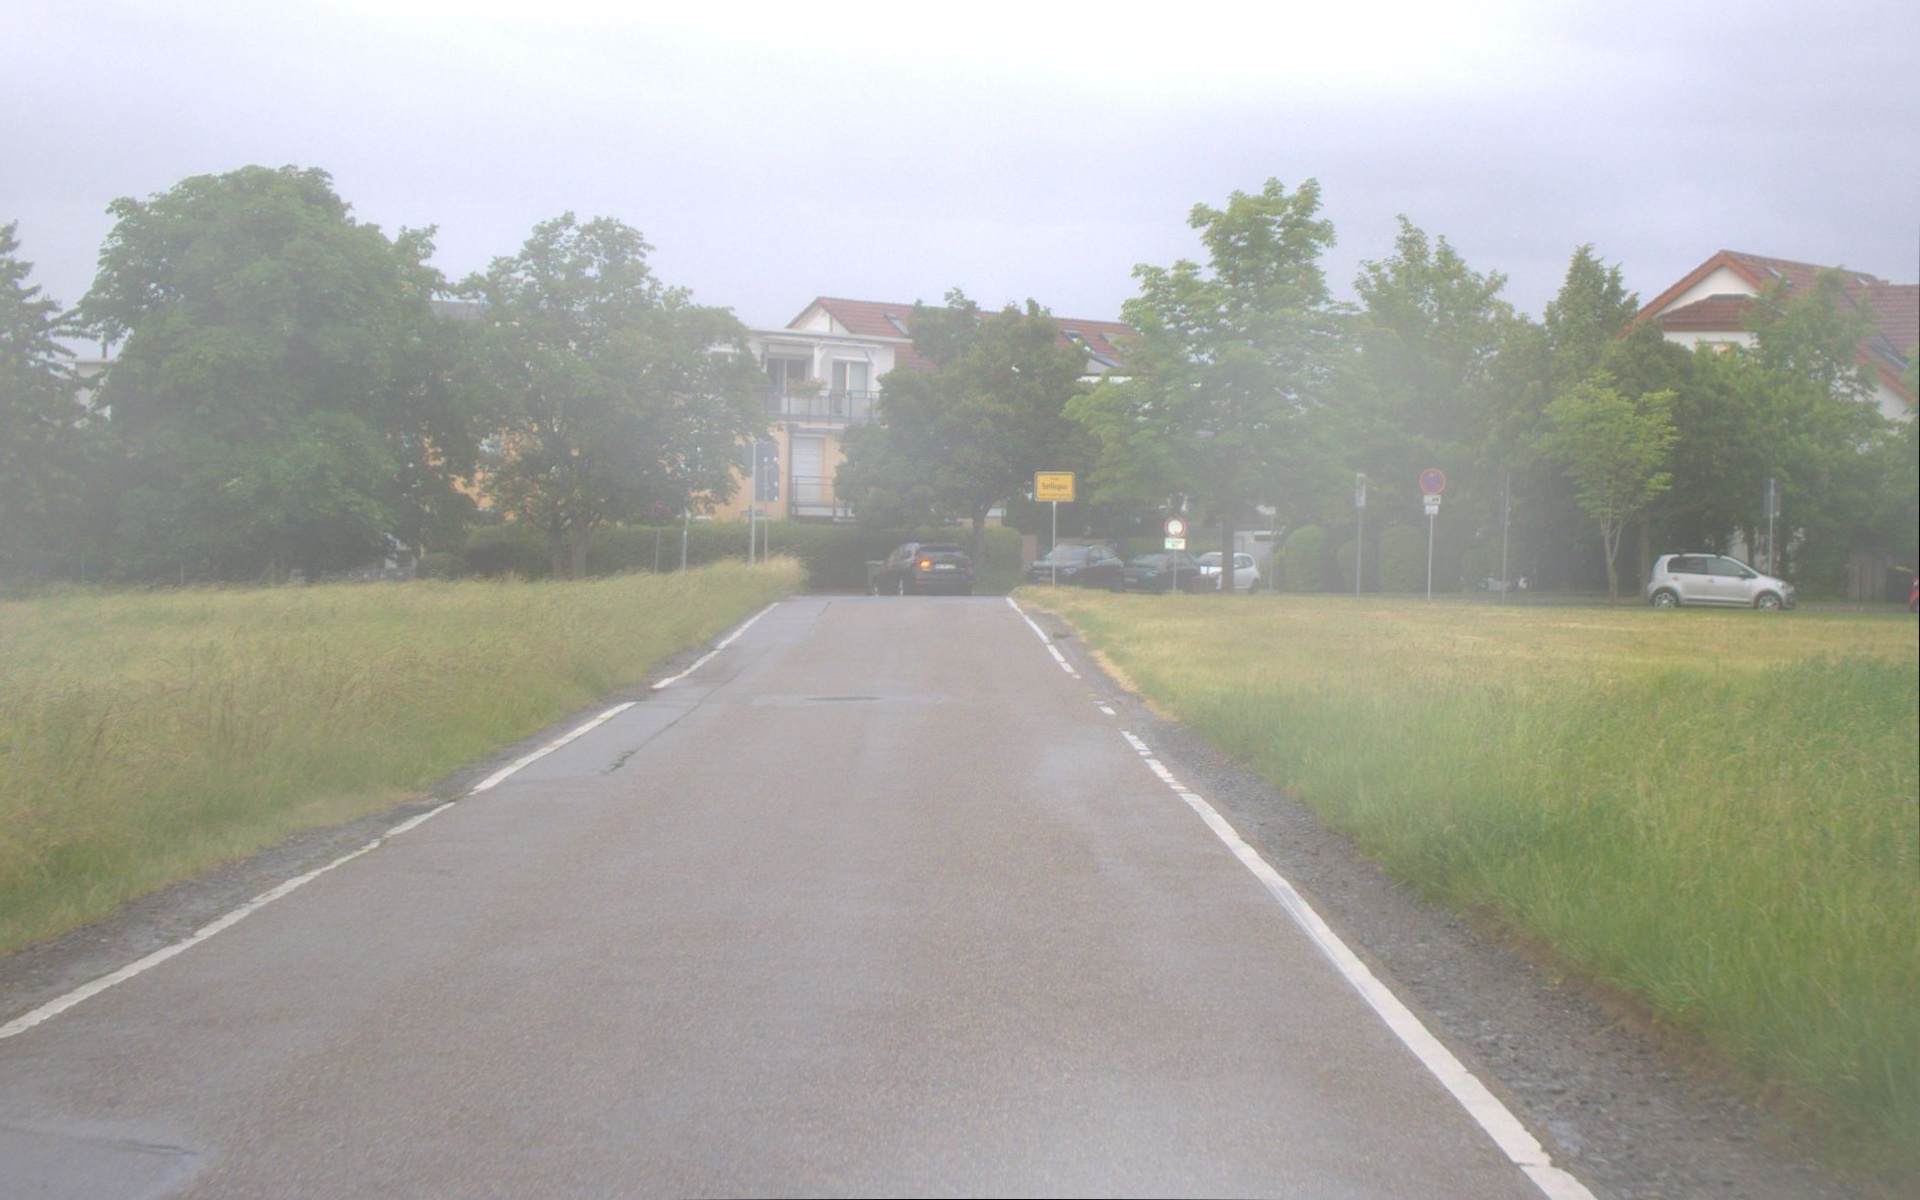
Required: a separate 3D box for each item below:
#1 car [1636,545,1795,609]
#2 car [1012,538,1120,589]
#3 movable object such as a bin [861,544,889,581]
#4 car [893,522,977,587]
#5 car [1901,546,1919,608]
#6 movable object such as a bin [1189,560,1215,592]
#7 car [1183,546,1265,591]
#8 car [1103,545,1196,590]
[{"bbox_3d":[18.038,-0.549,82.092,3.546,1.474,1.678,1,0,18],"label":"car"},{"bbox_3d":[3.436,-1.165,111.122,1.778,1.513,4.131,4,2,28],"label":"car"},{"bbox_3d":[-2.468,-1.082,99.956,0.666,1.070,0.543,1,1,21],"label":"movable object such as a bin"},{"bbox_3d":[-0.638,-1.112,85.200,1.686,1.547,3.697,1,0,-6],"label":"car"},{"bbox_3d":[23.631,-0.504,80.511,3.004,1.431,1.552,2,0,17],"label":"car"},{"bbox_3d":[7.276,-0.727,103.475,0.571,0.928,0.529,2,0,34],"label":"movable object such as a bin"},{"bbox_3d":[9.282,-1.097,120.747,1.513,1.471,3.268,4,2,31],"label":"car"},{"bbox_3d":[6.411,-1.090,116.219,1.638,1.404,3.598,4,2,30],"label":"car"}]
